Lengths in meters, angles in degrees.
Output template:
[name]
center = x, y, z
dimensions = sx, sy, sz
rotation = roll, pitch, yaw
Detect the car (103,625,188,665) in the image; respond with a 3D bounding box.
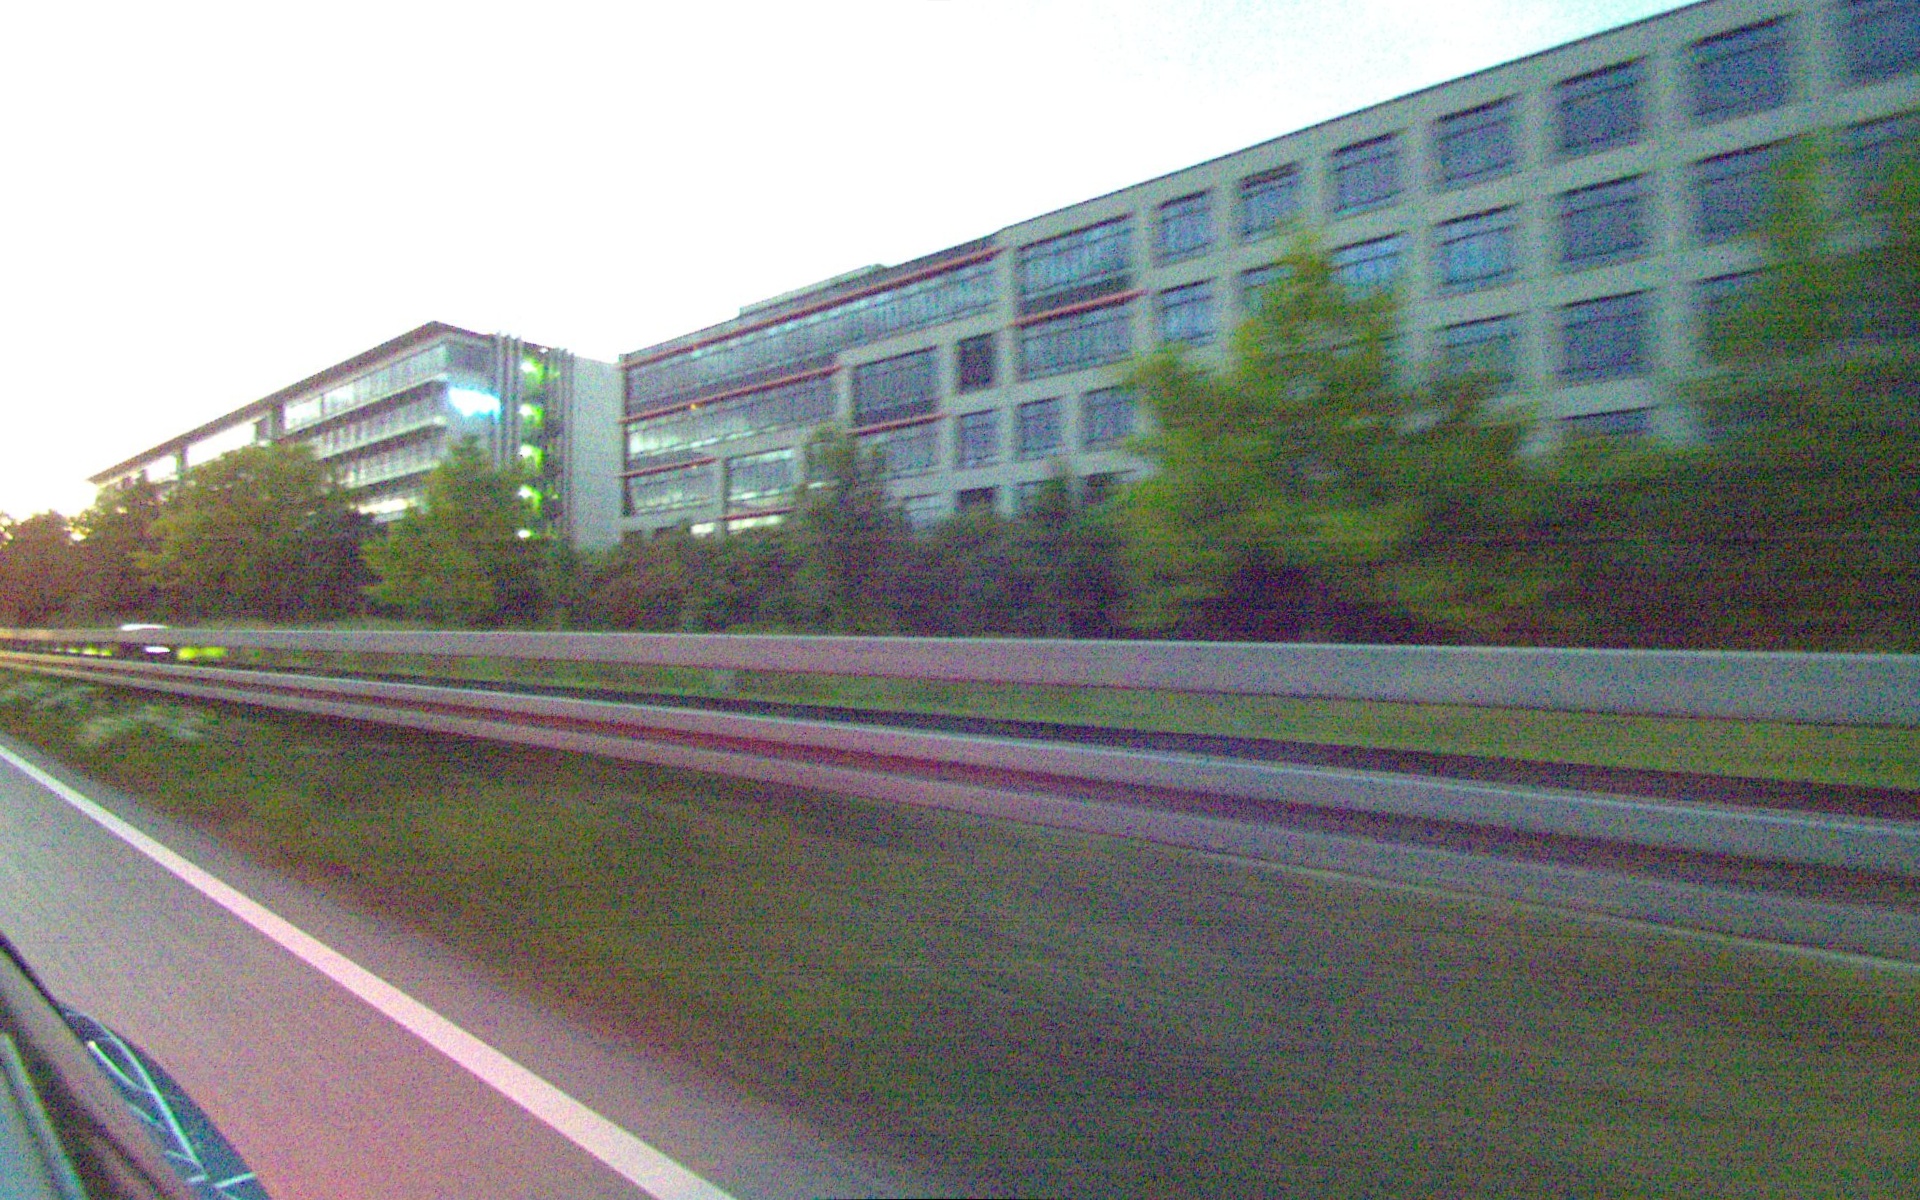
[car]
center = -32.148, 1.790, 39.927
dimensions = 3.841, 1.480, 1.817
rotation = -2, -4, 39
